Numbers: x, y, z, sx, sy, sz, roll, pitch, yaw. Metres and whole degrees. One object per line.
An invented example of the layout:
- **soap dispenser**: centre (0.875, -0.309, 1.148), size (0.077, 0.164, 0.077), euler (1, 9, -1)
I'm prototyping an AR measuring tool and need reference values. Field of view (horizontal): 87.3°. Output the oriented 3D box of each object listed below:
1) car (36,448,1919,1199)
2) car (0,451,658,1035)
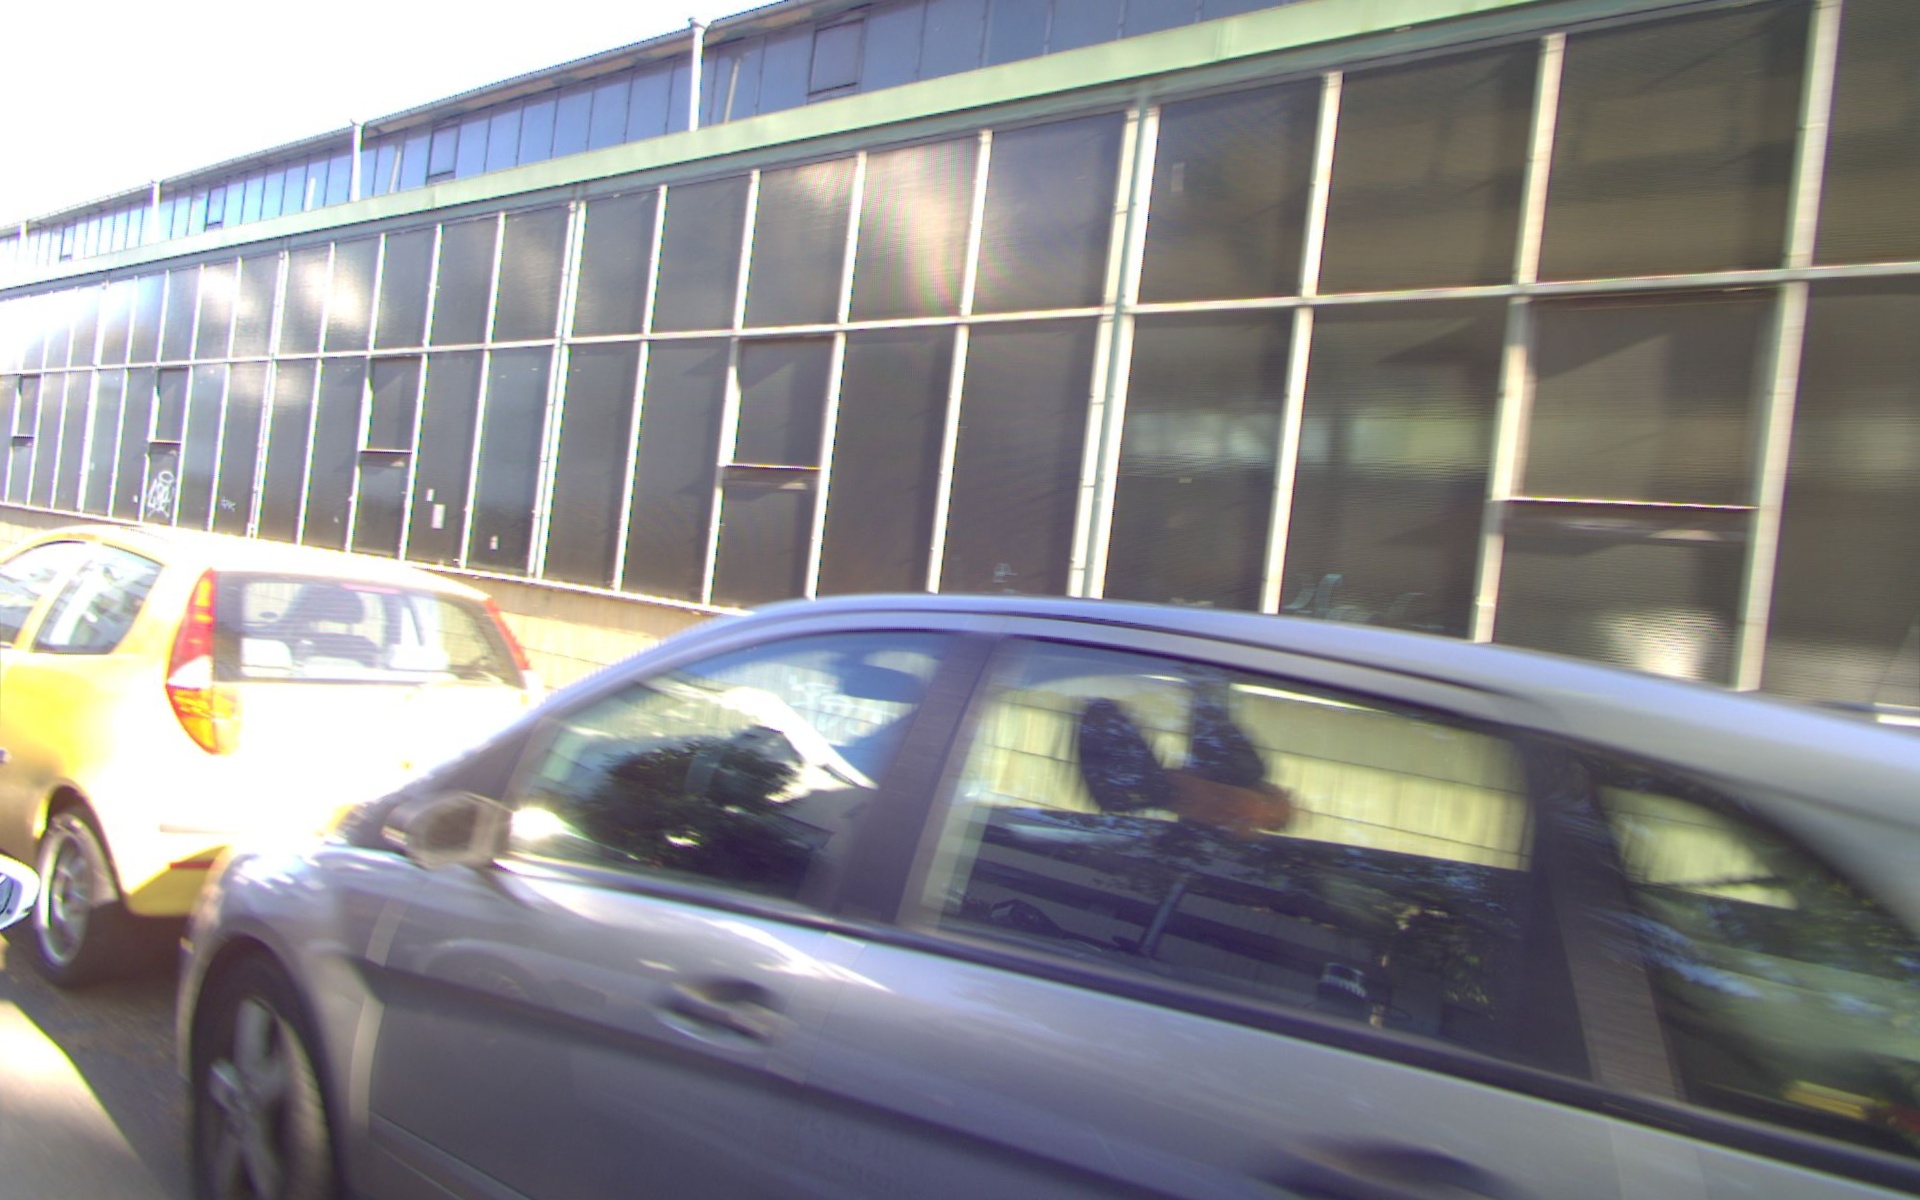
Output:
- **car**: centre (0.011, 0.715, 2.169), size (4.238, 1.653, 1.754), euler (6, -3, 32)
- **car**: centre (-3.548, 0.335, 4.630), size (3.934, 1.653, 1.755), euler (6, -3, 30)
